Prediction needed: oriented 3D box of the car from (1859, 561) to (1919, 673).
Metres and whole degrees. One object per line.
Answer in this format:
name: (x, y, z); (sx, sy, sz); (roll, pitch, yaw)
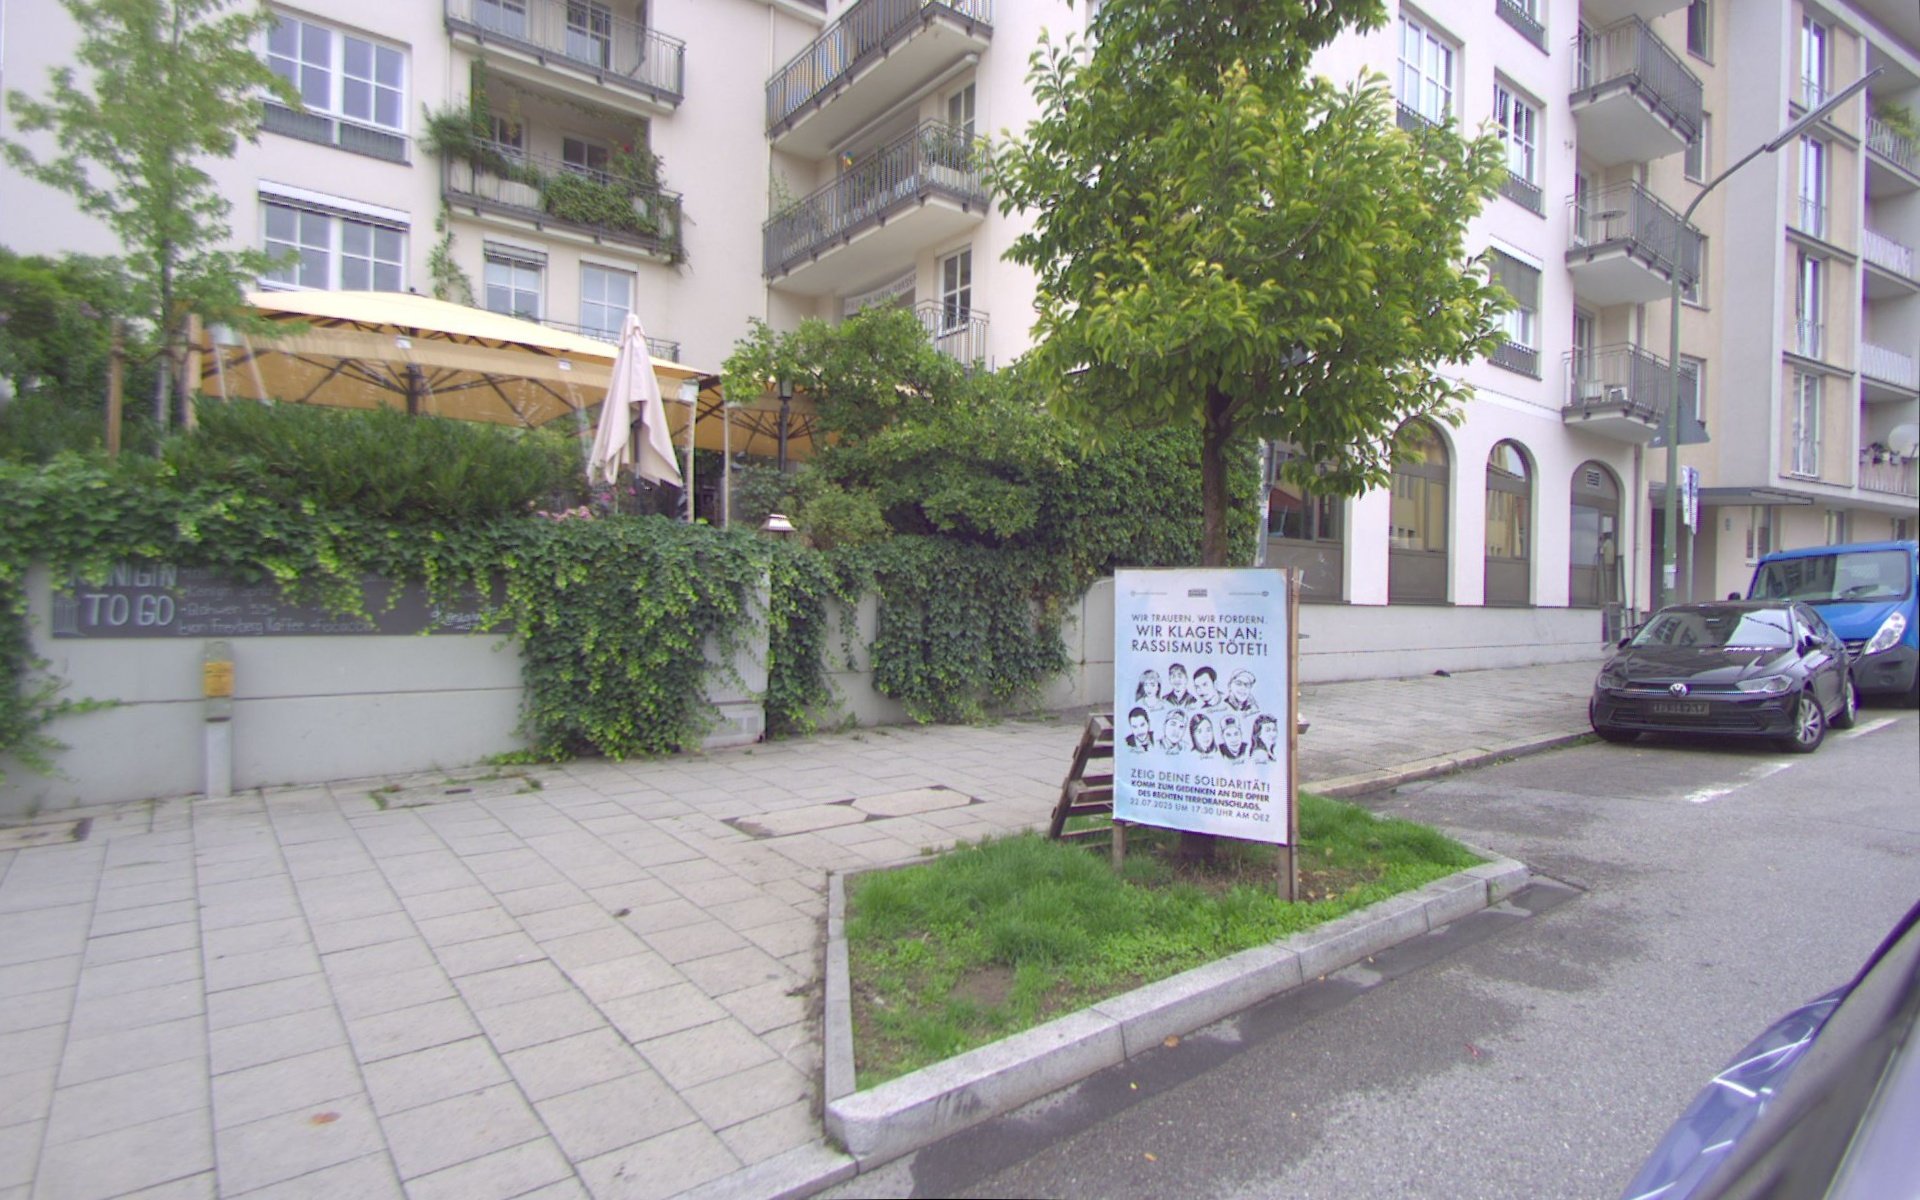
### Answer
car: (17.970, 0.295, 17.825); (4.840, 1.839, 1.972); (0, 2, -33)

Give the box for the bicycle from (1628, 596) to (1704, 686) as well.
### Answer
bicycle: (10.042, 0.545, 14.373); (0.664, 1.203, 1.564); (1, 1, 43)

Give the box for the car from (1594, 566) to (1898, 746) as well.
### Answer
car: (8.375, 0.458, 10.672); (3.888, 1.537, 1.708); (0, 2, -40)

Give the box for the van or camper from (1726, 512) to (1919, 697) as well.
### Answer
van or camper: (13.366, 0.043, 14.659); (5.335, 2.259, 2.067); (1, 2, -35)
